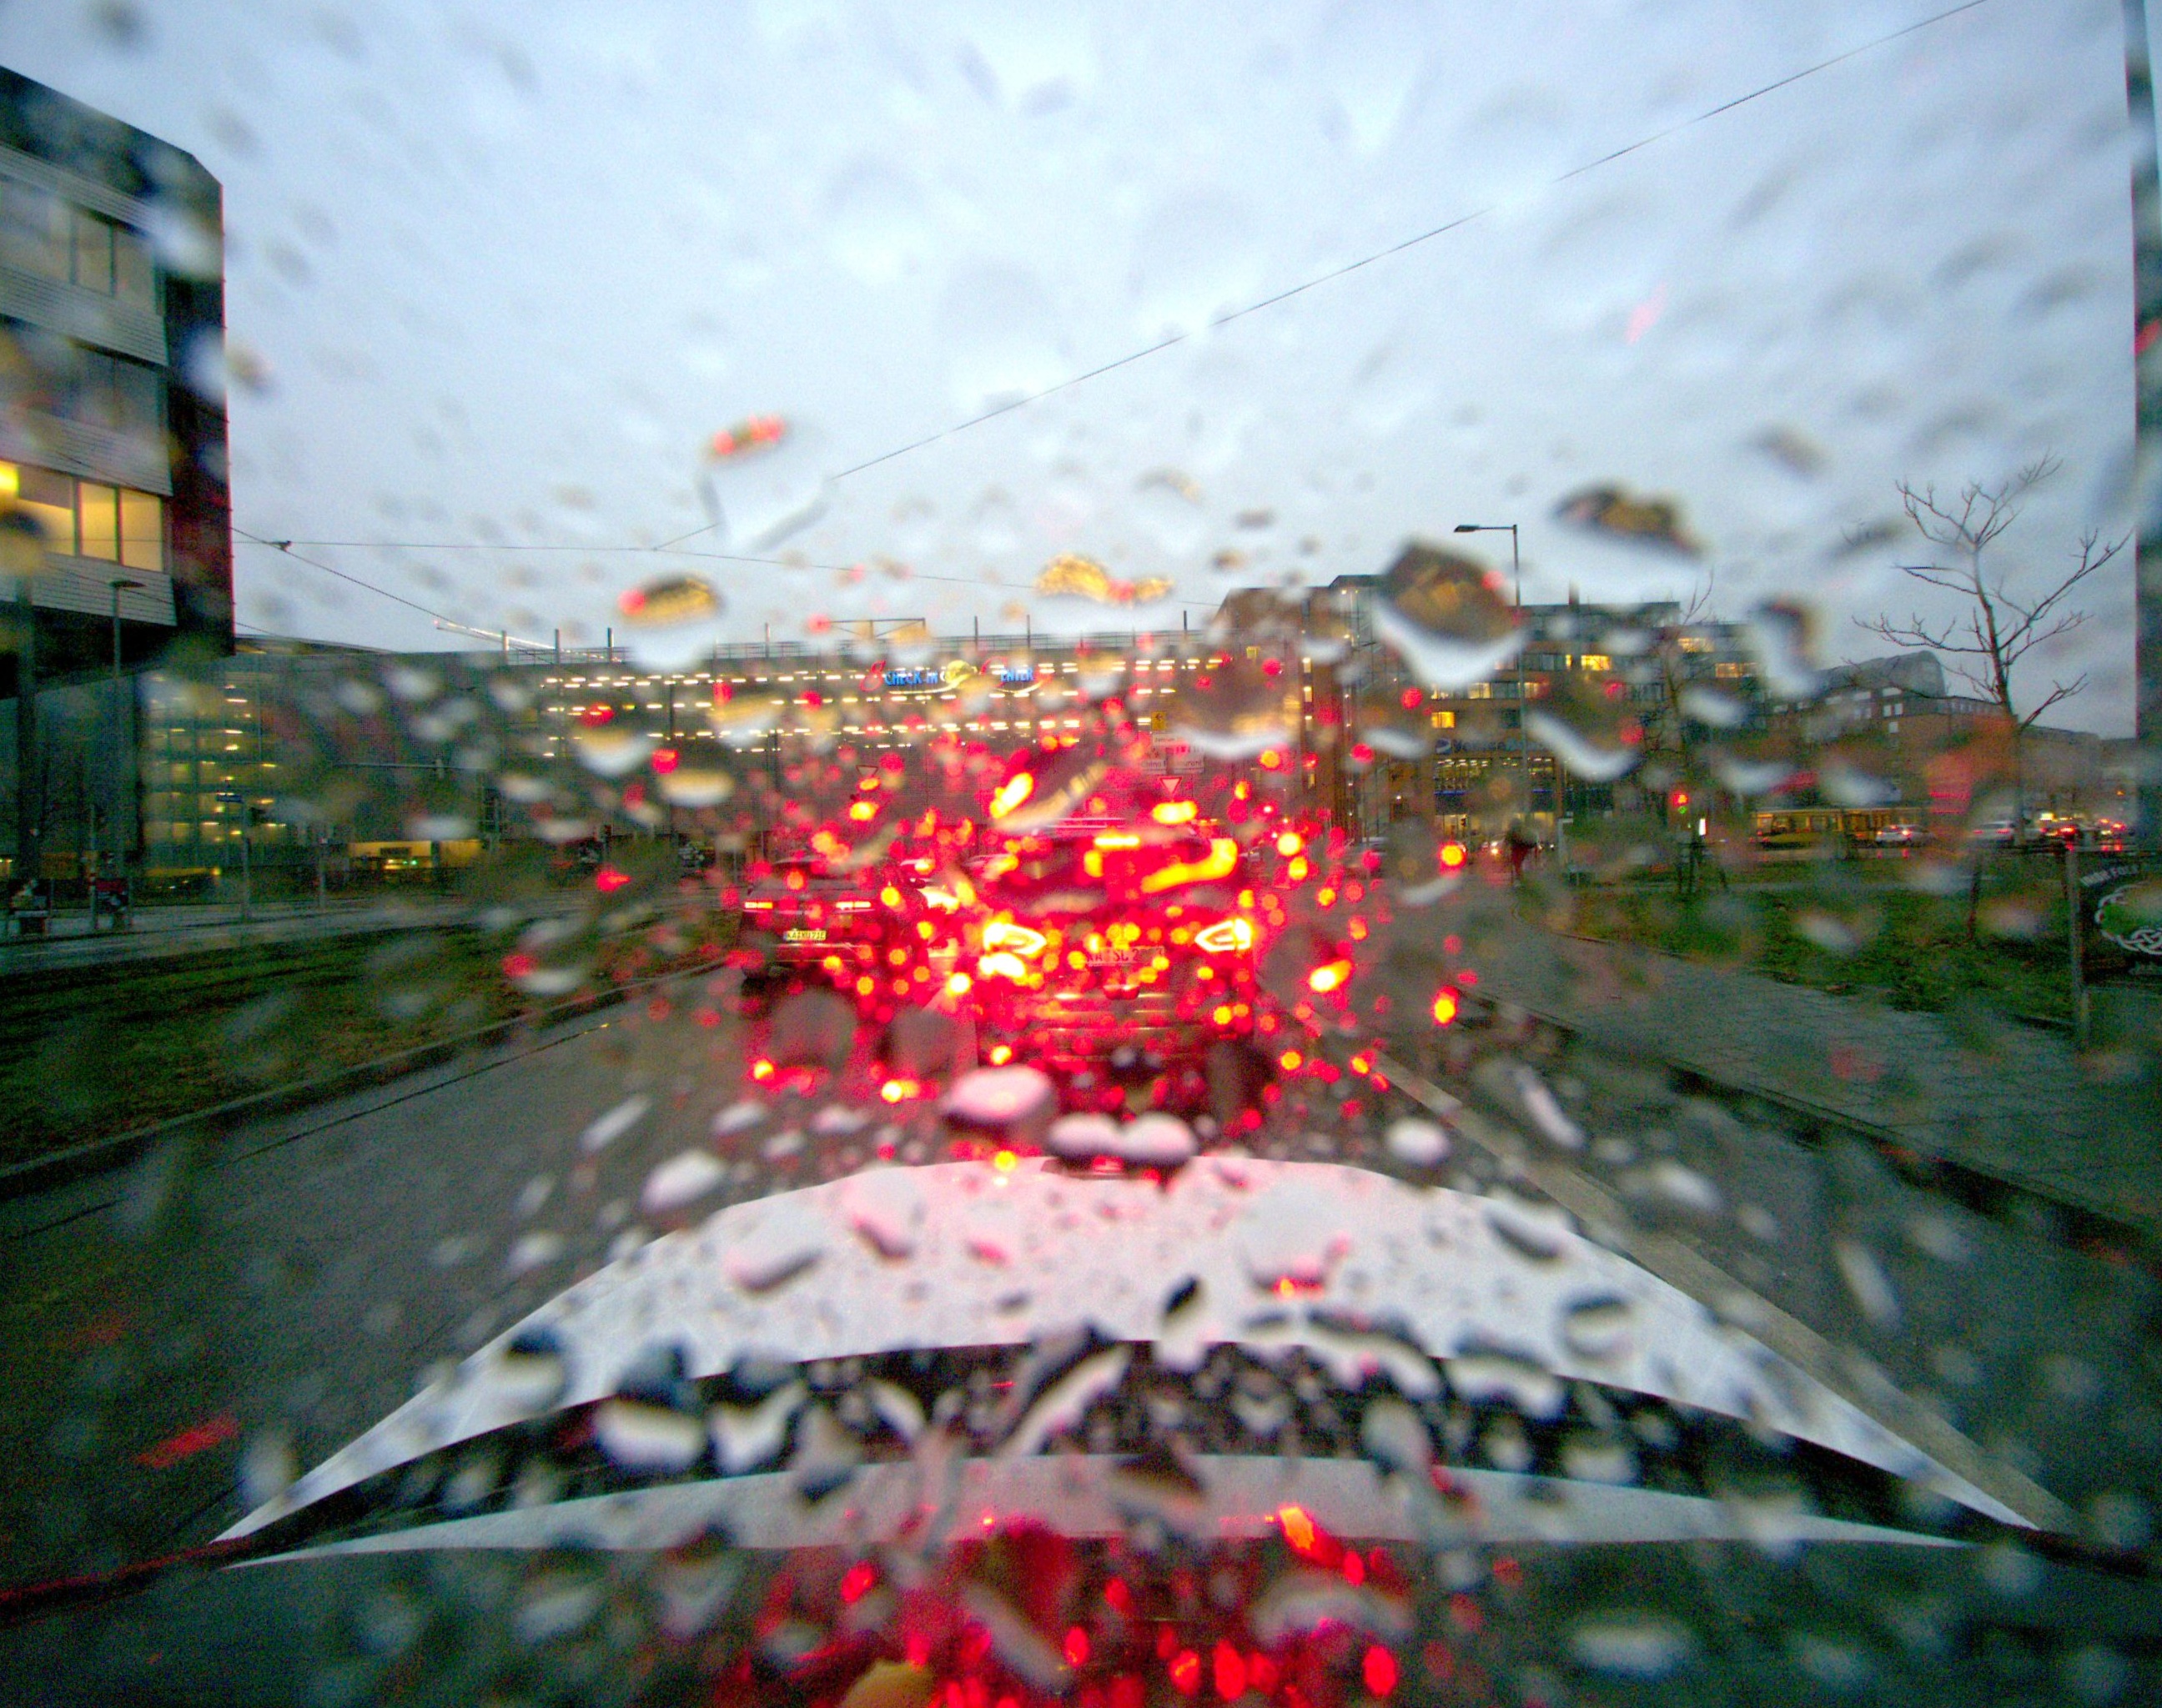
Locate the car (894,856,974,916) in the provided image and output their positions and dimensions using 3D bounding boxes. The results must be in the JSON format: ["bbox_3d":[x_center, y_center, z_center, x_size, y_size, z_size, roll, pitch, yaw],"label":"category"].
[{"bbox_3d":[-3.465,0.708,19.761,1.538,1.251,4.059,-1,0,-6],"label":"car"}]

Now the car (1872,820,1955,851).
[{"bbox_3d":[56.659,-1.251,55.452,3.985,2.013,1.994,0,0,-9],"label":"car"}]

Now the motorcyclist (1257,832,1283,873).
[{"bbox_3d":[7.334,-0.050,31.643,0.863,1.534,1.110,-2,0,7],"label":"motorcyclist"}]

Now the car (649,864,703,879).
[{"bbox_3d":[-34.767,1.502,69.918,3.751,1.165,1.678,-2,0,-4],"label":"car"}]

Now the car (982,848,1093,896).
[{"bbox_3d":[-1.927,0.771,35.340,4.665,1.851,1.827,-2,-1,-8],"label":"car"}]

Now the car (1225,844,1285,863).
[{"bbox_3d":[14.101,-0.053,66.241,4.413,1.390,1.796,-2,0,-6],"label":"car"}]

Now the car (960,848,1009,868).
[{"bbox_3d":[-8.030,0.318,68.057,3.978,1.618,1.736,1,0,-4],"label":"car"}]

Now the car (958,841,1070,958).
[{"bbox_3d":[-1.066,0.680,13.843,1.632,1.697,3.667,-1,0,-3],"label":"car"}]

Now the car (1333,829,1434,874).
[{"bbox_3d":[14.342,-0.142,38.691,3.987,1.874,1.994,-3,1,-10],"label":"car"}]

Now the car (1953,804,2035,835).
[{"bbox_3d":[64.337,-2.386,57.396,4.945,2.013,1.989,0,0,-17],"label":"car"}]

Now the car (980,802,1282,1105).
[{"bbox_3d":[0.281,0.568,6.831,1.730,1.738,4.246,1,0,0],"label":"car"}]

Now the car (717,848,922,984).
[{"bbox_3d":[-3.511,0.740,11.735,1.748,1.574,3.997,-2,0,-2],"label":"car"}]

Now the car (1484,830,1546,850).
[{"bbox_3d":[36.766,-1.193,69.020,4.425,1.534,1.796,-2,0,-6],"label":"car"}]

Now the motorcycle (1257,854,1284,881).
[{"bbox_3d":[7.345,0.516,31.626,0.848,0.972,1.585,-2,0,7],"label":"motorcycle"}]

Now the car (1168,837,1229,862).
[{"bbox_3d":[9.898,-0.379,68.893,4.831,2.000,1.797,-2,0,-5],"label":"car"}]

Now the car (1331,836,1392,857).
[{"bbox_3d":[22.972,-0.618,66.790,4.413,1.595,1.796,-2,0,-6],"label":"car"}]

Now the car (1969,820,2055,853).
[{"bbox_3d":[60.607,-1.113,53.029,4.362,2.013,1.990,0,0,-15],"label":"car"}]

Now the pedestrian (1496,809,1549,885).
[{"bbox_3d":[11.608,-0.187,21.438,1.159,1.924,0.904,1,0,25],"label":"pedestrian"}]

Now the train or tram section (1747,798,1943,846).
[{"bbox_3d":[59.073,-2.502,62.835,16.626,3.260,2.326,-2,0,-14],"label":"train or tram section"}]

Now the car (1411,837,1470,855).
[{"bbox_3d":[29.916,-0.652,67.829,4.209,1.390,1.796,-2,0,-6],"label":"car"}]
